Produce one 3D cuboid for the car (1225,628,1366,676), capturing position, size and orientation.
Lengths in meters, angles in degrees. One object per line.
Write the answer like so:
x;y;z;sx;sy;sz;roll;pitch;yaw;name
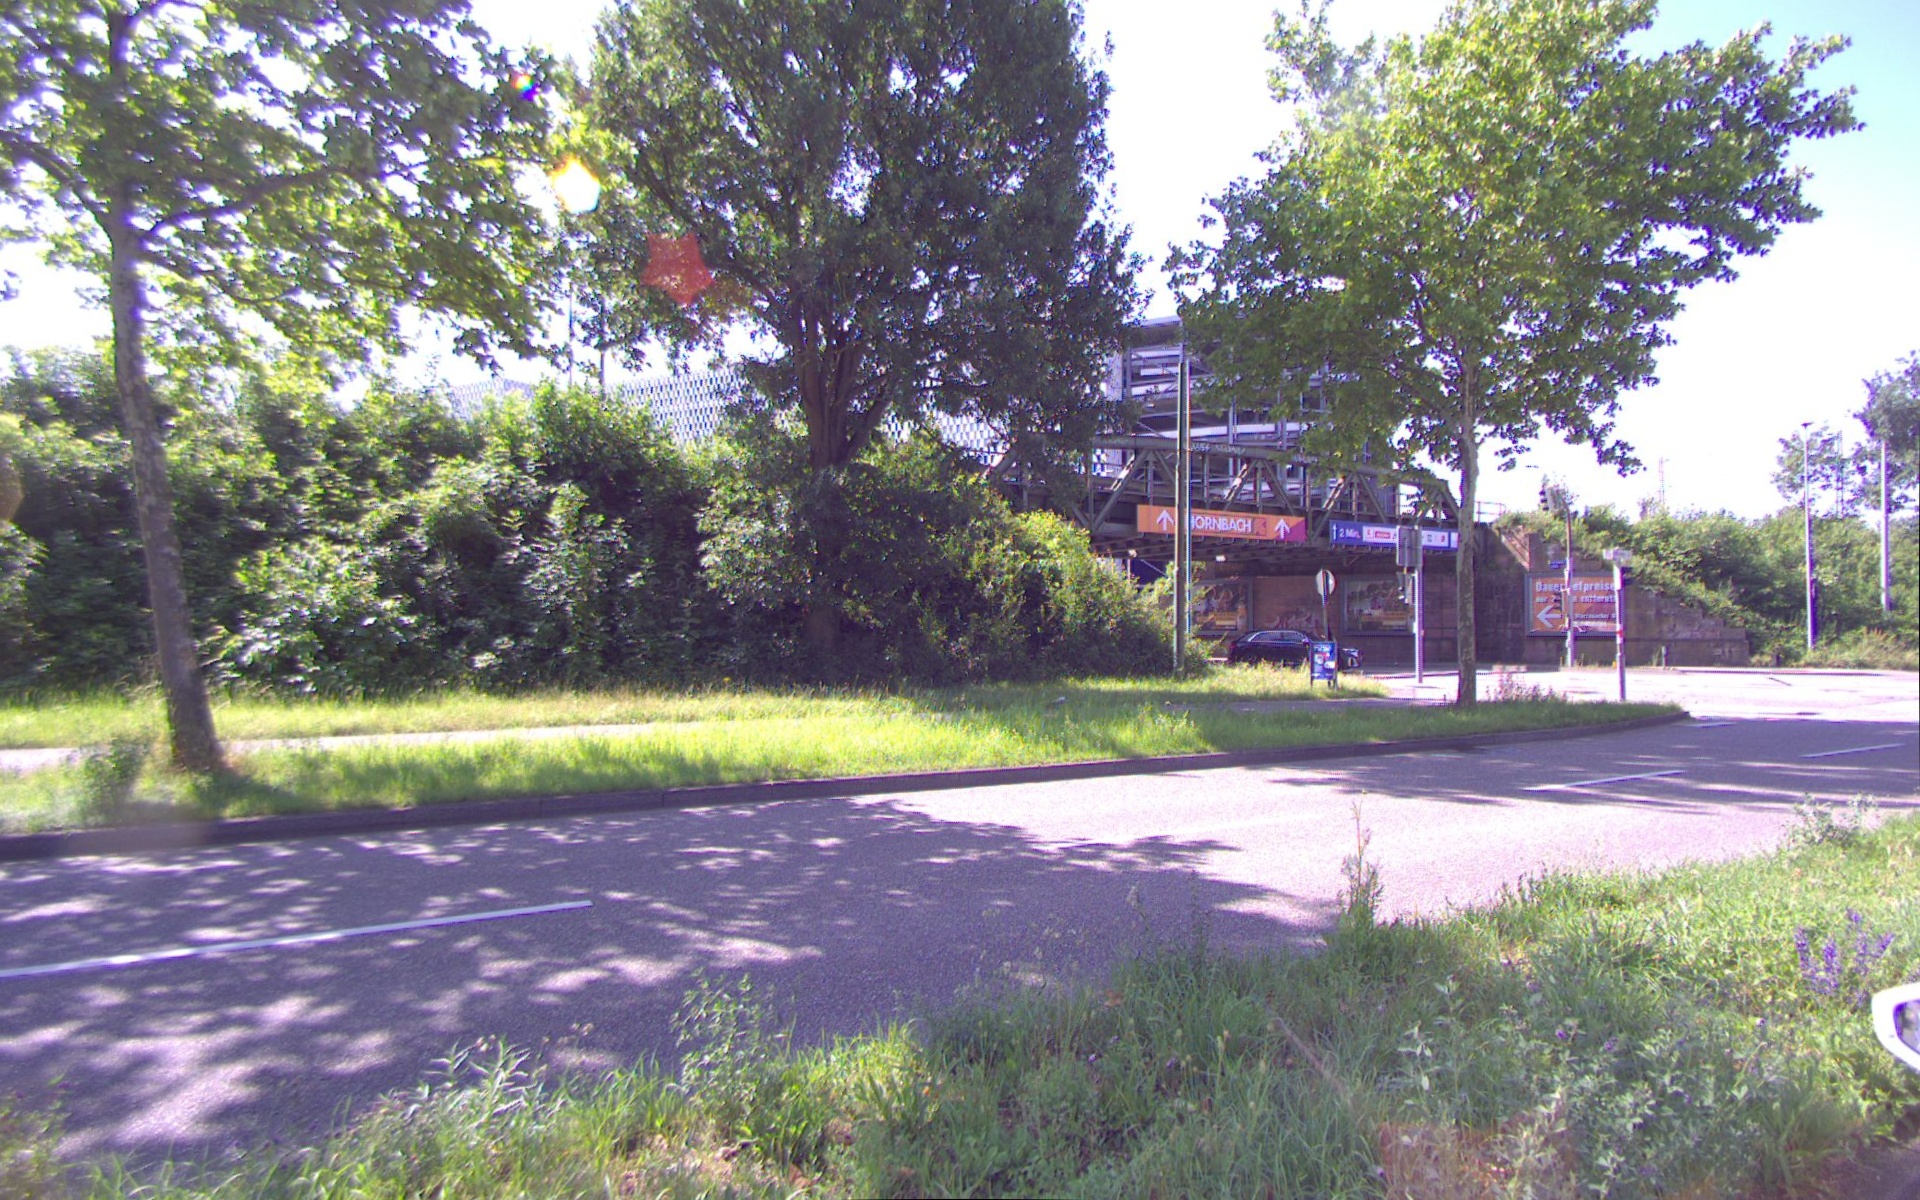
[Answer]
12.748;1.926;38.206;4.957;1.617;1.526;1;-1;24;car
